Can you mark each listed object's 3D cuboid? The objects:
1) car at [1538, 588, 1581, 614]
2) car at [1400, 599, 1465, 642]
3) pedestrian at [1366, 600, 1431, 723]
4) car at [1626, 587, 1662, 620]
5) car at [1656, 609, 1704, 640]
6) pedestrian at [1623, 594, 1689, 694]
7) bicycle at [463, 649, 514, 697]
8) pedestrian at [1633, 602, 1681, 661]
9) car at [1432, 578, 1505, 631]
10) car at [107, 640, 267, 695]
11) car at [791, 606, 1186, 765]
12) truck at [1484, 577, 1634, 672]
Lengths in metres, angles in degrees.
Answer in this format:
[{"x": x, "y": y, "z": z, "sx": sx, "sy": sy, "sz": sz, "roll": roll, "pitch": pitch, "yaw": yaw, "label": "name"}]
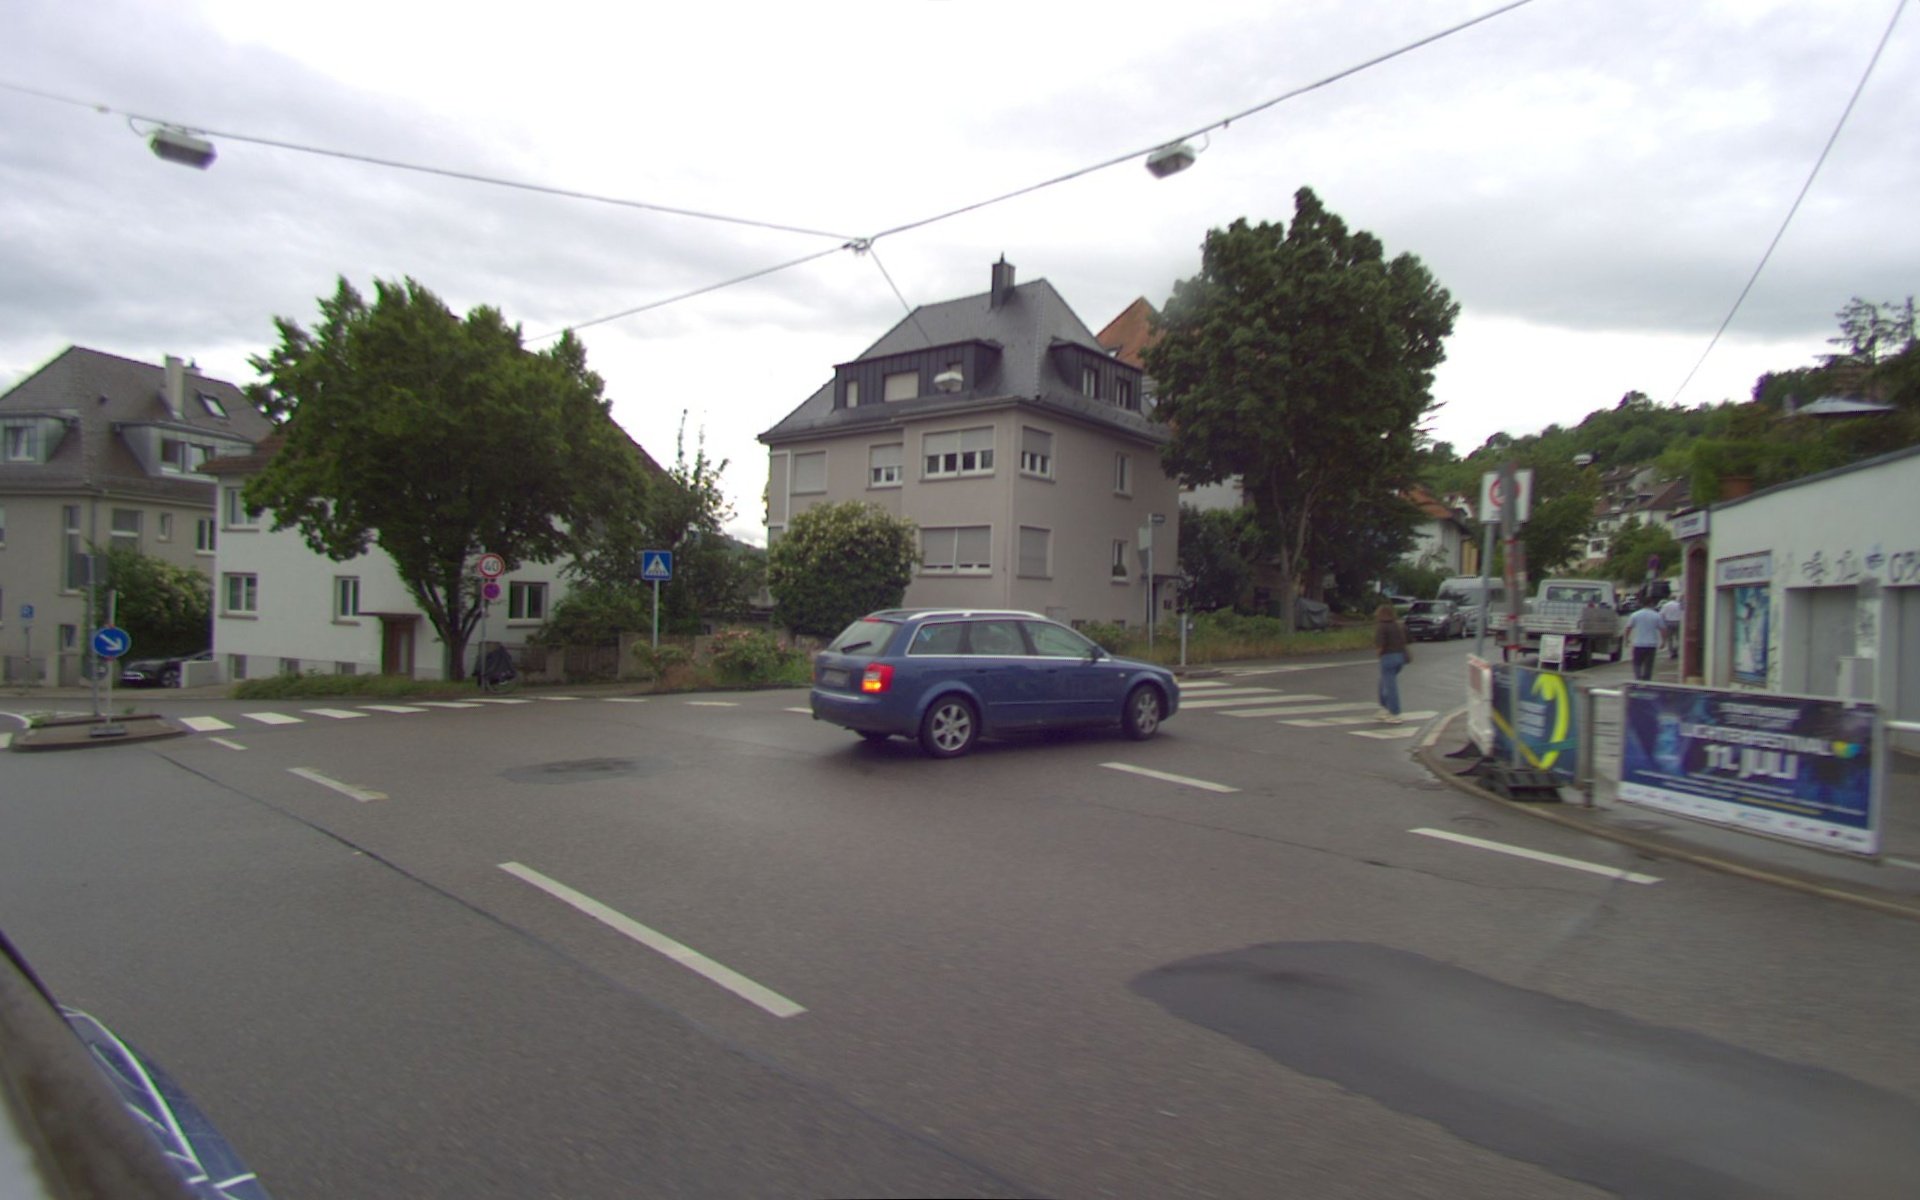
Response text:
[{"x": 39.796, "y": 0.059, "z": 67.147, "sx": 1.737, "sy": 1.597, "sz": 3.945, "roll": -3, "pitch": -1, "yaw": 41, "label": "car"}, {"x": 18.488, "y": 0.777, "z": 39.527, "sx": 1.540, "sy": 1.539, "sz": 3.634, "roll": -2, "pitch": -1, "yaw": 38, "label": "car"}, {"x": 6.206, "y": 0.860, "z": 14.344, "sx": 0.616, "sy": 1.702, "sz": 0.585, "roll": 1, "pitch": -2, "yaw": -8, "label": "pedestrian"}, {"x": 53.465, "y": 0.233, "z": 79.157, "sx": 1.992, "sy": 2.450, "sz": 3.960, "roll": -2, "pitch": -1, "yaw": 30, "label": "car"}, {"x": 42.369, "y": 1.432, "z": 59.552, "sx": 1.998, "sy": 1.652, "sz": 3.947, "roll": -3, "pitch": -1, "yaw": 39, "label": "car"}, {"x": 12.955, "y": 0.817, "z": 18.869, "sx": 0.802, "sy": 1.819, "sz": 0.702, "roll": -2, "pitch": 0, "yaw": 20, "label": "pedestrian"}, {"x": -11.342, "y": 1.758, "z": 24.315, "sx": 1.964, "sy": 1.093, "sz": 0.416, "roll": -5, "pitch": -2, "yaw": 44, "label": "bicycle"}, {"x": 19.106, "y": 0.859, "z": 27.728, "sx": 0.891, "sy": 1.516, "sz": 0.965, "roll": -3, "pitch": 0, "yaw": 44, "label": "pedestrian"}, {"x": 22.011, "y": 0.177, "z": 43.712, "sx": 1.835, "sy": 2.139, "sz": 4.977, "roll": -2, "pitch": -1, "yaw": 38, "label": "car"}, {"x": -28.046, "y": 2.398, "z": 36.890, "sx": 1.986, "sy": 1.636, "sz": 4.224, "roll": -1, "pitch": 0, "yaw": 21, "label": "car"}, {"x": 0.374, "y": 0.794, "z": 11.126, "sx": 4.012, "sy": 1.450, "sz": 1.822, "roll": 0, "pitch": 0, "yaw": -32, "label": "car"}, {"x": 16.453, "y": 0.568, "z": 27.556, "sx": 2.314, "sy": 2.286, "sz": 6.716, "roll": -1, "pitch": 0, "yaw": 41, "label": "truck"}]
